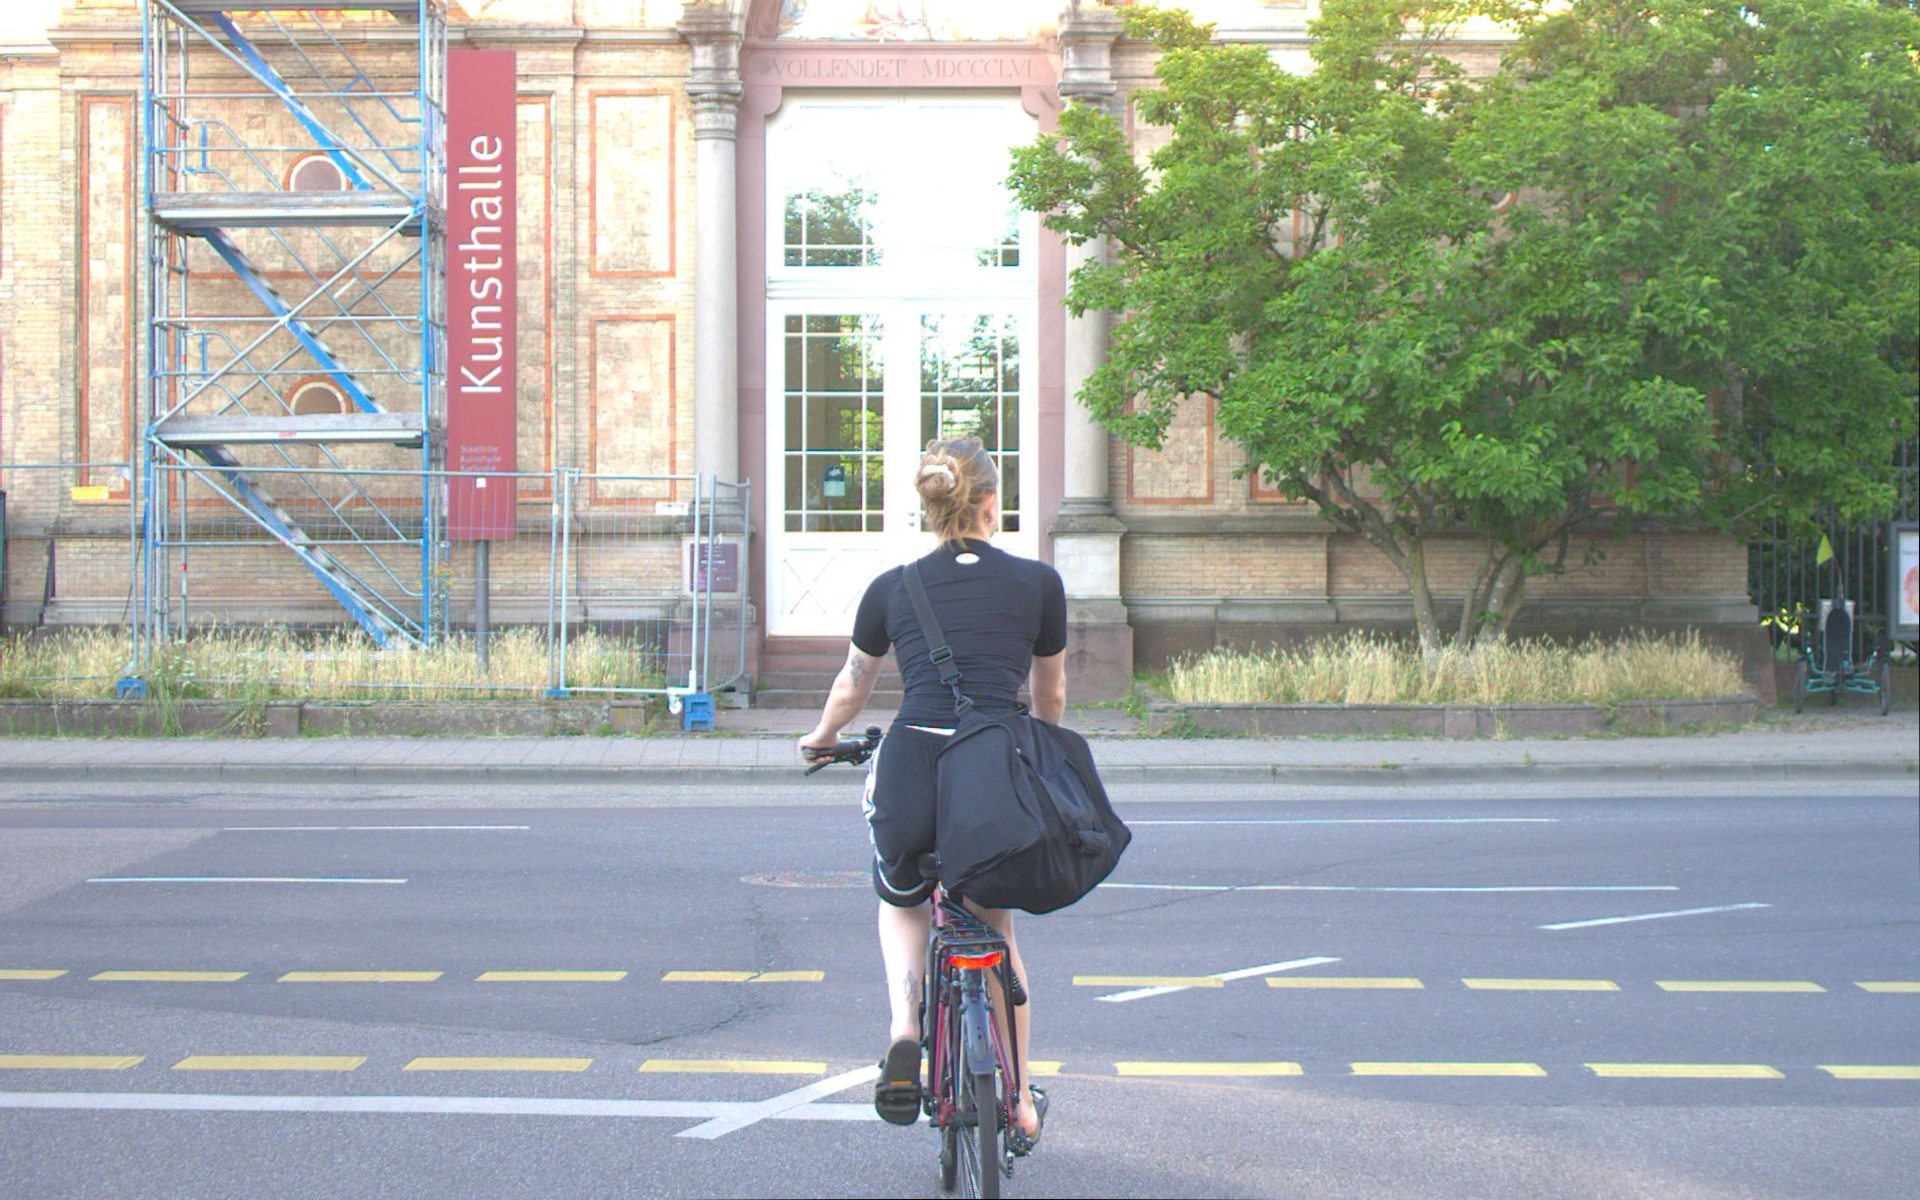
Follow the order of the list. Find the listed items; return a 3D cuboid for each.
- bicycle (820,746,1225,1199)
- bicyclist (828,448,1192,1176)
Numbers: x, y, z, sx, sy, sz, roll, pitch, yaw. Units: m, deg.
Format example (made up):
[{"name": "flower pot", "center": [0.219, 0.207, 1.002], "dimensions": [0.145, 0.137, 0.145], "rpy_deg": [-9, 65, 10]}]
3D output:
[{"name": "bicycle", "center": [0.081, 0.932, 7.720], "dimensions": [0.711, 1.152, 2.069], "rpy_deg": [0, -1, -5]}, {"name": "bicyclist", "center": [0.089, 0.443, 7.528], "dimensions": [0.716, 1.497, 0.851], "rpy_deg": [0, -1, -5]}]
